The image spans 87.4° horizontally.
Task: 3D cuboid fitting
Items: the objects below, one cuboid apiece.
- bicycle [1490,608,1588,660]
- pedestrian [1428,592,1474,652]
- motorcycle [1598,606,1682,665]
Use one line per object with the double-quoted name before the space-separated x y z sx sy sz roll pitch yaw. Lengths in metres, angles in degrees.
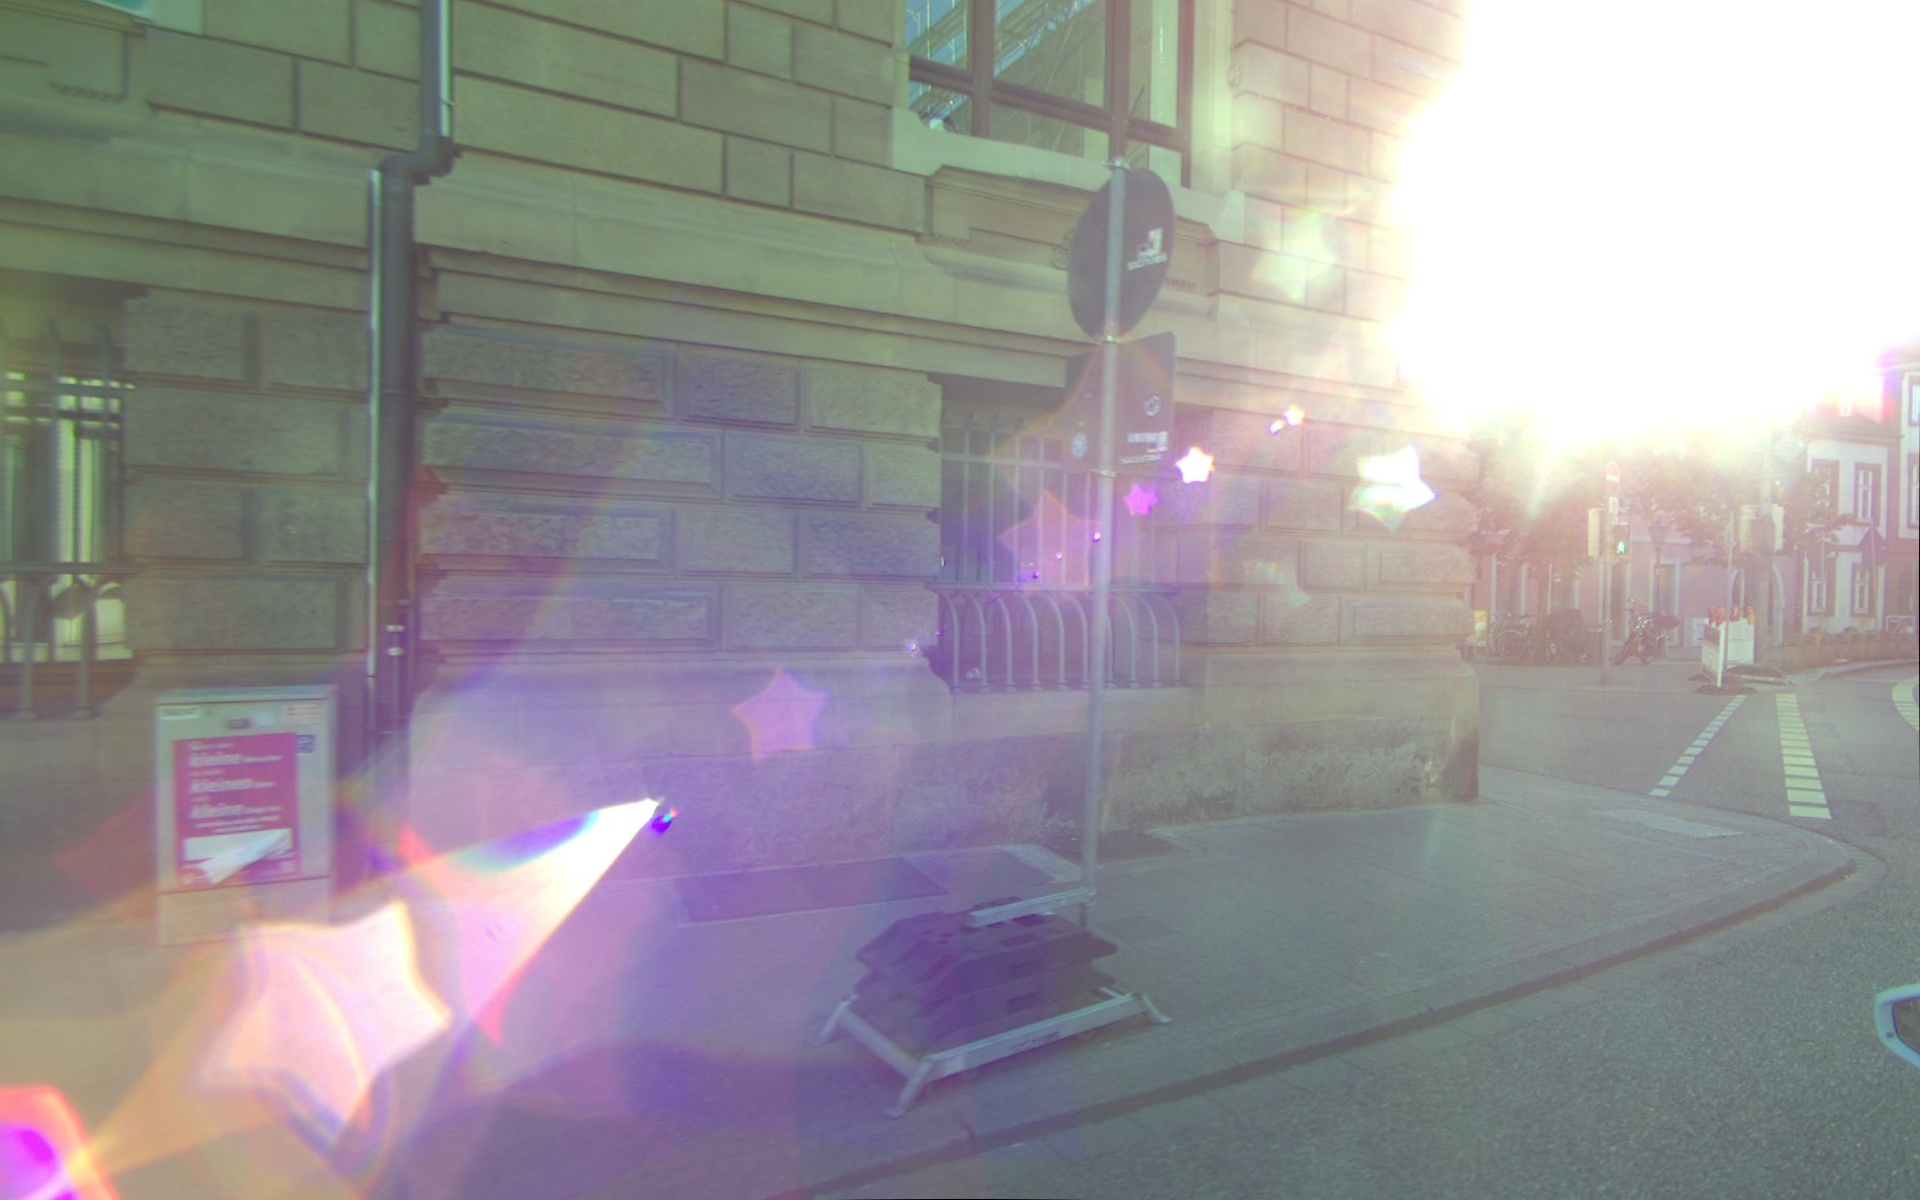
"bicycle" 13.841 0.808 24.070 1.967 1.222 0.683 0 -2 24
"pedestrian" 14.368 0.643 29.405 0.855 1.711 0.790 1 2 -20
"motorcycle" 15.929 0.805 23.511 2.312 1.335 0.807 0 0 -34
